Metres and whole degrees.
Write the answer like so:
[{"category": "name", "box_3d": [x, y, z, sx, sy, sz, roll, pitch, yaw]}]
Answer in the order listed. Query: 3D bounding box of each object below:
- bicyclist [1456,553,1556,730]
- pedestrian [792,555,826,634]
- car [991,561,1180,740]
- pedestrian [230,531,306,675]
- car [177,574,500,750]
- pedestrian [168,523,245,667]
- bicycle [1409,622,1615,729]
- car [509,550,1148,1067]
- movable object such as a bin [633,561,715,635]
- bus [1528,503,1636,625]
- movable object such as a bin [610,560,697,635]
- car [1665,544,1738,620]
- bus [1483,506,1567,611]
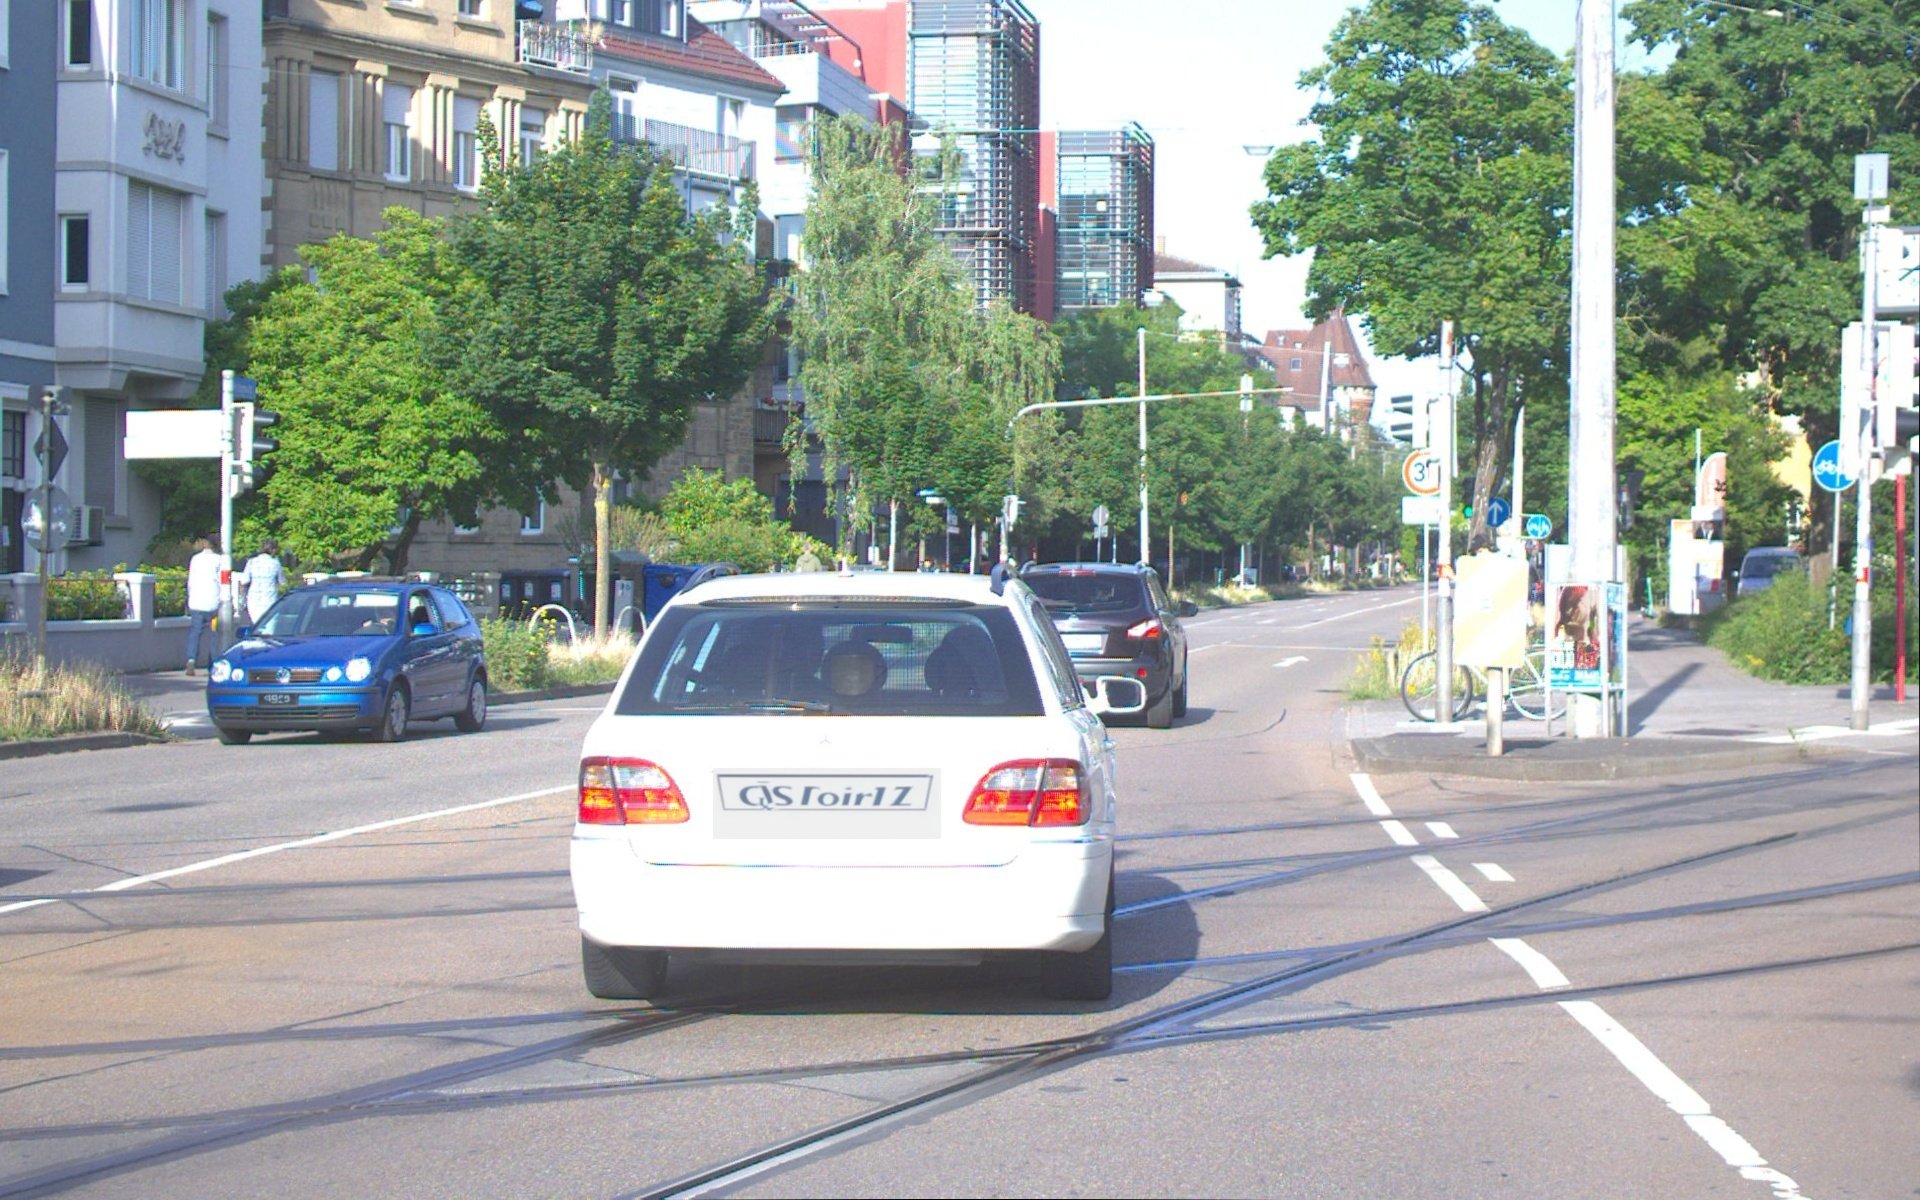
[{"category": "bicyclist", "box_3d": [5.302, 0.396, 33.409, 0.899, 1.693, 0.732, 0, 0, 5]}, {"category": "pedestrian", "box_3d": [-3.367, -0.122, 76.560, 0.638, 1.745, 0.607, 1, 1, 8]}, {"category": "car", "box_3d": [1.293, 0.451, 33.966, 1.642, 1.595, 3.814, 3, 1, 4]}, {"category": "pedestrian", "box_3d": [-8.540, 0.027, 42.423, 0.638, 1.745, 0.911, 1, 1, 8]}, {"category": "car", "box_3d": [-5.563, 0.506, 31.248, 1.690, 1.436, 3.999, 1, 1, 8]}, {"category": "pedestrian", "box_3d": [-9.305, -0.066, 42.498, 0.638, 1.745, 0.911, 1, 1, 8]}, {"category": "bicycle", "box_3d": [5.350, 0.730, 33.406, 1.914, 0.991, 0.726, -1, 1, 5]}, {"category": "car", "box_3d": [-0.306, 0.617, 12.451, 1.835, 1.496, 3.814, 3, 1, 4]}, {"category": "movable object such as a bin", "box_3d": [-5.578, -0.040, 67.191, 1.533, 1.416, 1.085, 1, 1, -2]}, {"category": "bus", "box_3d": [13.146, -0.734, 72.852, 1.798, 2.404, 3.999, 3, 0, 6]}, {"category": "movable object such as a bin", "box_3d": [-5.886, -0.056, 66.130, 1.603, 1.416, 1.085, 1, 1, -2]}, {"category": "car", "box_3d": [18.990, -0.472, 88.184, 1.747, 1.867, 3.998, 1, 0, 12]}, {"category": "bus", "box_3d": [14.522, -1.032, 88.497, 1.798, 2.546, 3.999, 3, 0, 6]}]
